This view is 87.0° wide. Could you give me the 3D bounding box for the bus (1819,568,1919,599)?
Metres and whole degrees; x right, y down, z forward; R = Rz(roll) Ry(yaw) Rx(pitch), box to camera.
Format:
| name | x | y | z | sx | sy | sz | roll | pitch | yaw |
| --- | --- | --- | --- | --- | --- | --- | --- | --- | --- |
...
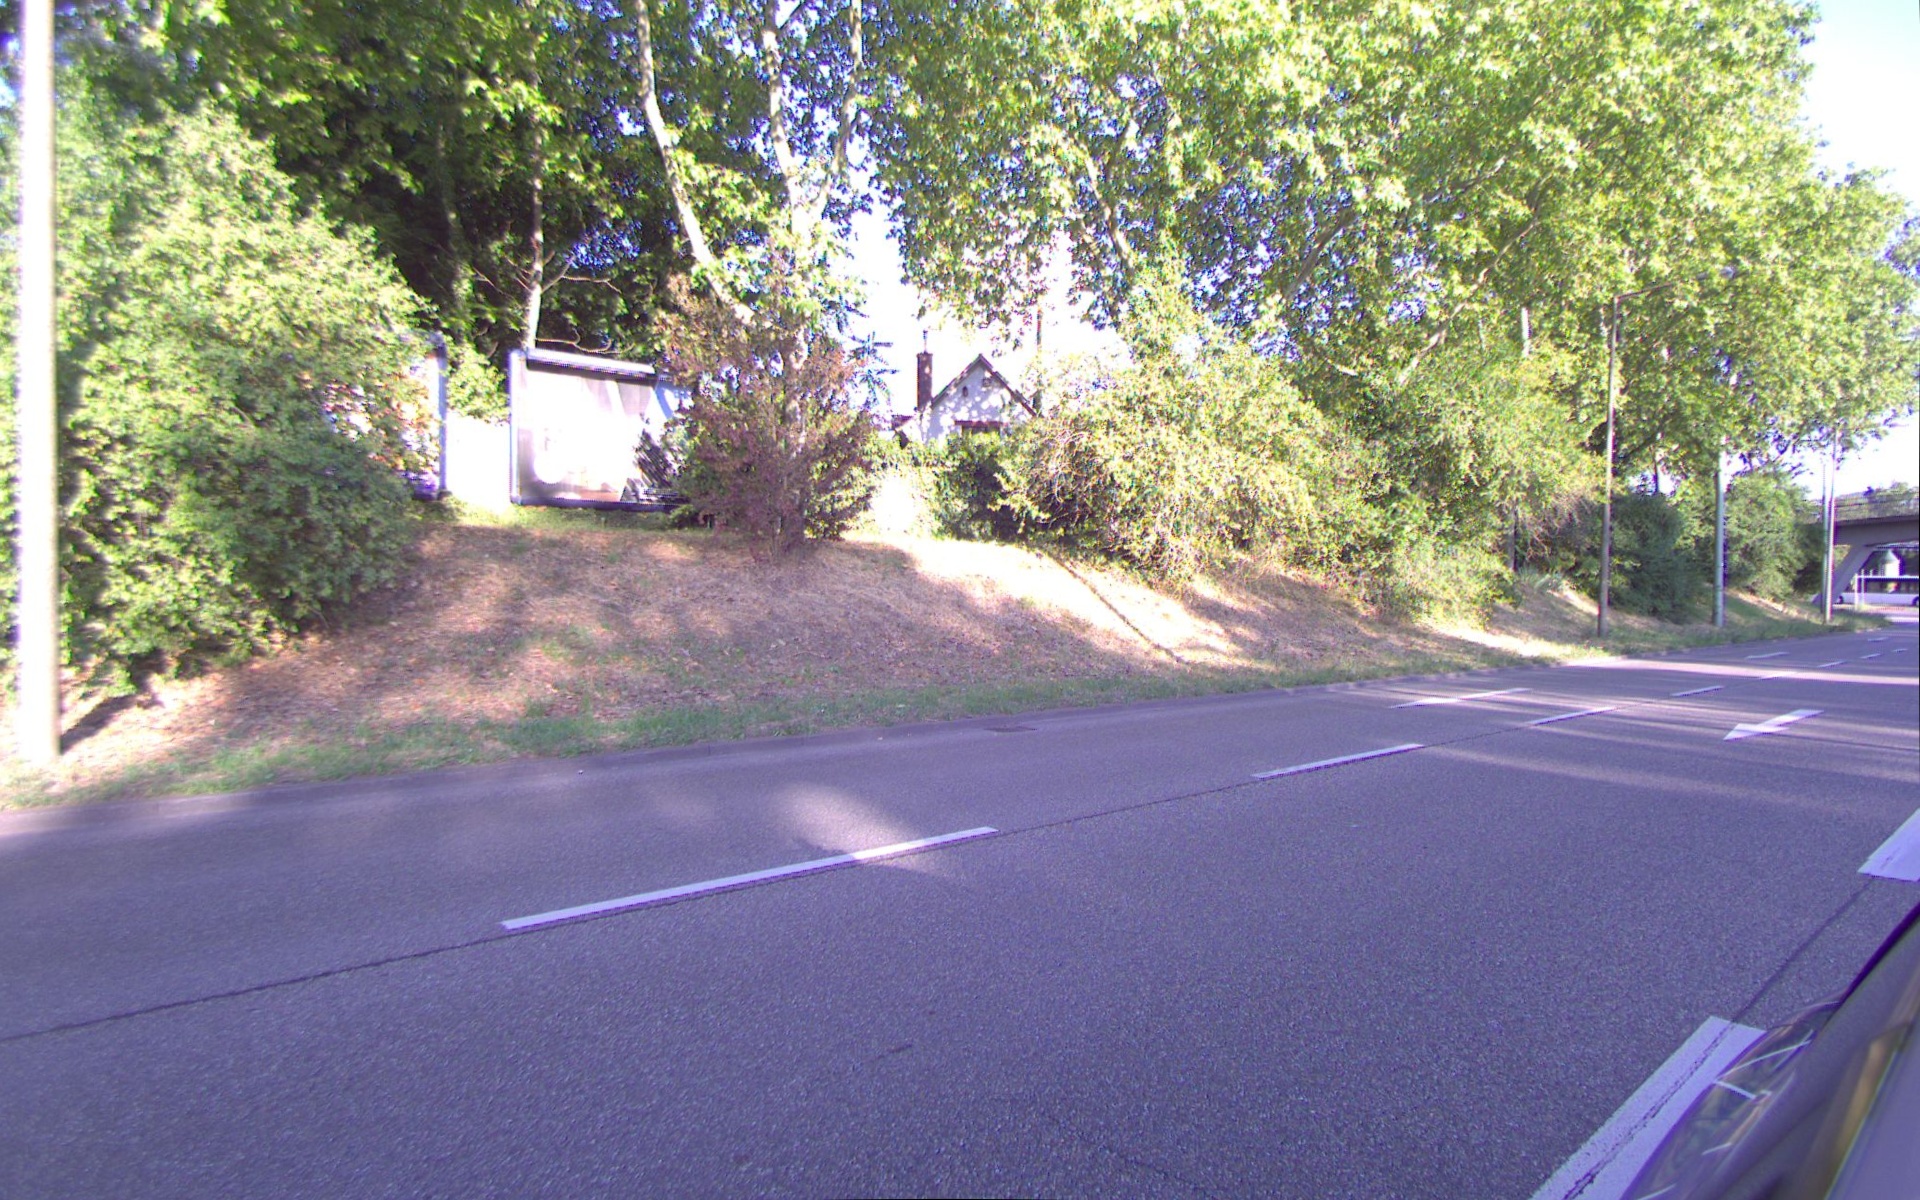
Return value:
| name | x | y | z | sx | sy | sz | roll | pitch | yaw |
| --- | --- | --- | --- | --- | --- | --- | --- | --- | --- |
| bus | 90.176 | -1.538 | 96.589 | 2.366 | 2.899 | 13.221 | 0 | 0 | -19 |
